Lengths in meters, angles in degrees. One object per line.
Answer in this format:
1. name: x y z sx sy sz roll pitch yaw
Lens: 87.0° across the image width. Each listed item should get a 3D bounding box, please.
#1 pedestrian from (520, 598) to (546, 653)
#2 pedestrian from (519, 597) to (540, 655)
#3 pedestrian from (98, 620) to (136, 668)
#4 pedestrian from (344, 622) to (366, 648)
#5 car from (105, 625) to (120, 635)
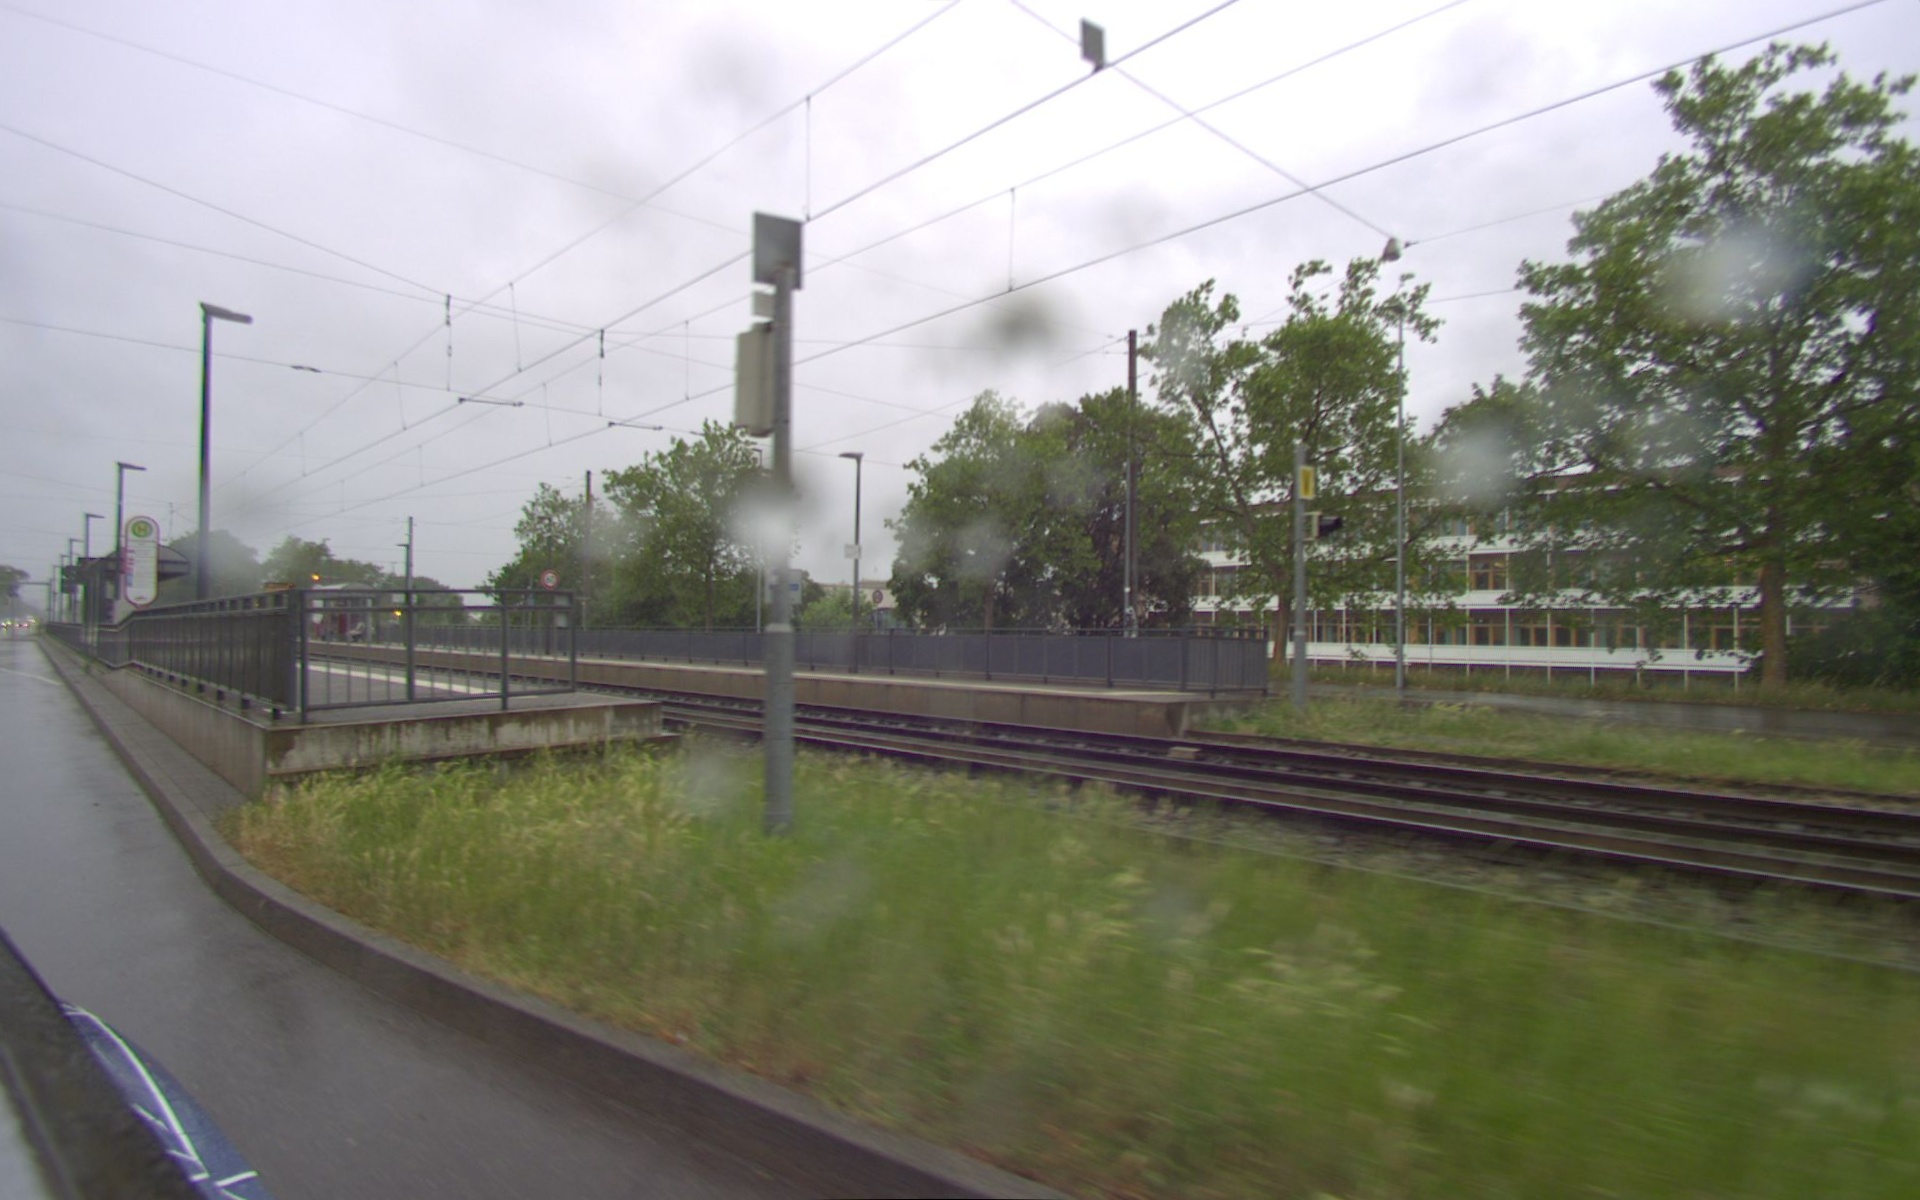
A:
1. pedestrian: -31.531 1.877 74.789 1.516 4.059 1.158 -1 -1 36
2. pedestrian: -30.568 1.831 71.910 1.153 4.059 1.524 0 -1 -15
3. pedestrian: -24.223 1.243 29.082 0.804 1.350 0.660 1 -2 -44
4. pedestrian: -31.253 1.818 52.273 0.821 1.326 0.859 0 -1 -43
5. car: -158.718 5.626 189.505 1.970 1.785 4.262 1 -2 -43
